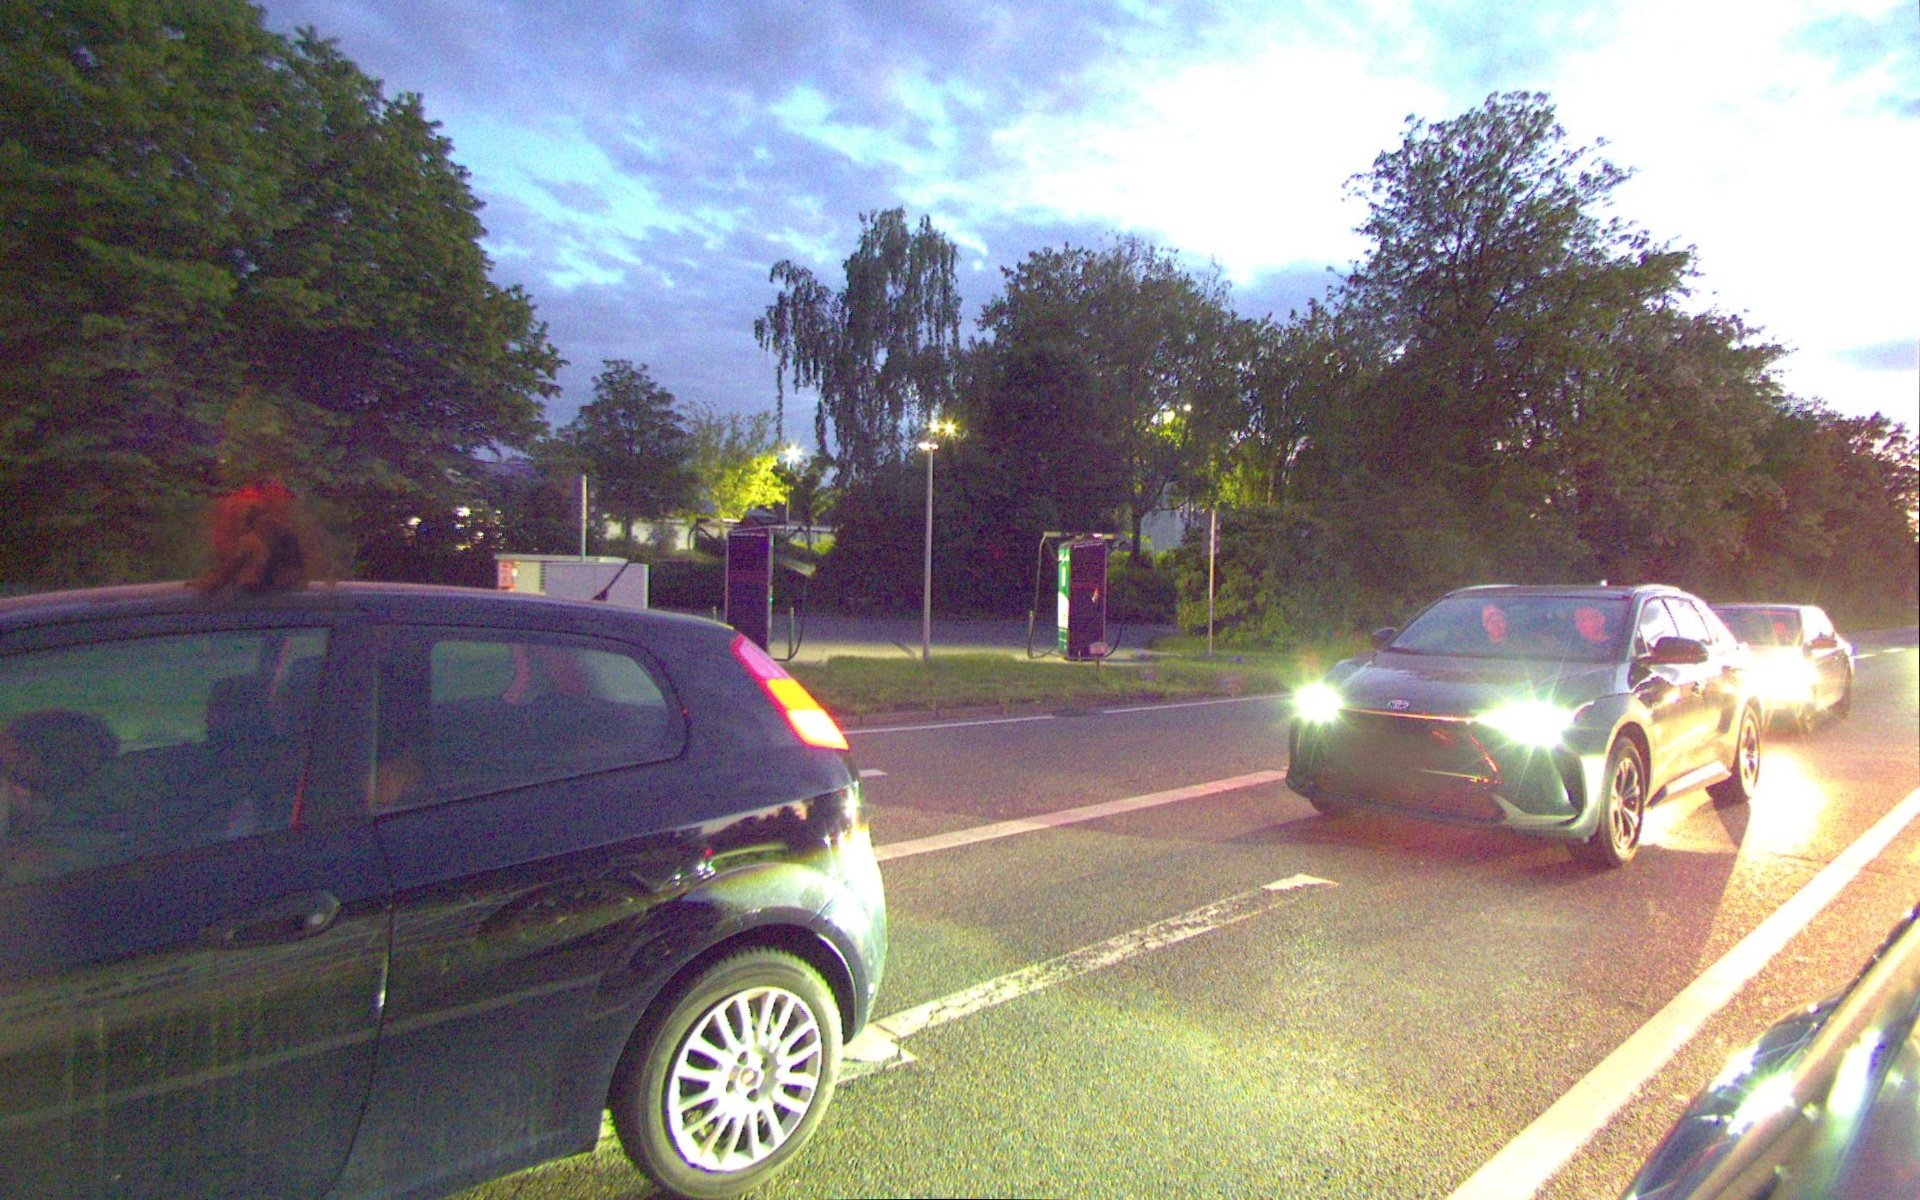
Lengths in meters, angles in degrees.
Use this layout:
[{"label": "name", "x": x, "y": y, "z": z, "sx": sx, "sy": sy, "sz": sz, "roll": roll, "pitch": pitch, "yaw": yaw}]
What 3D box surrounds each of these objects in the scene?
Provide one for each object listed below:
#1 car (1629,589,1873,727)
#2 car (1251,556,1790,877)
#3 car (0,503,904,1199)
[{"label": "car", "x": 9.815, "y": 0.627, "z": 12.470, "sx": 3.688, "sy": 1.431, "sz": 1.621, "roll": 1, "pitch": 1, "yaw": -40}, {"label": "car", "x": 4.079, "y": 0.600, "z": 7.077, "sx": 4.223, "sy": 1.577, "sz": 1.901, "roll": 1, "pitch": -1, "yaw": -40}, {"label": "car", "x": -2.081, "y": 0.614, "z": 2.179, "sx": 3.648, "sy": 1.556, "sz": 1.662, "roll": 1, "pitch": 0, "yaw": -40}]
